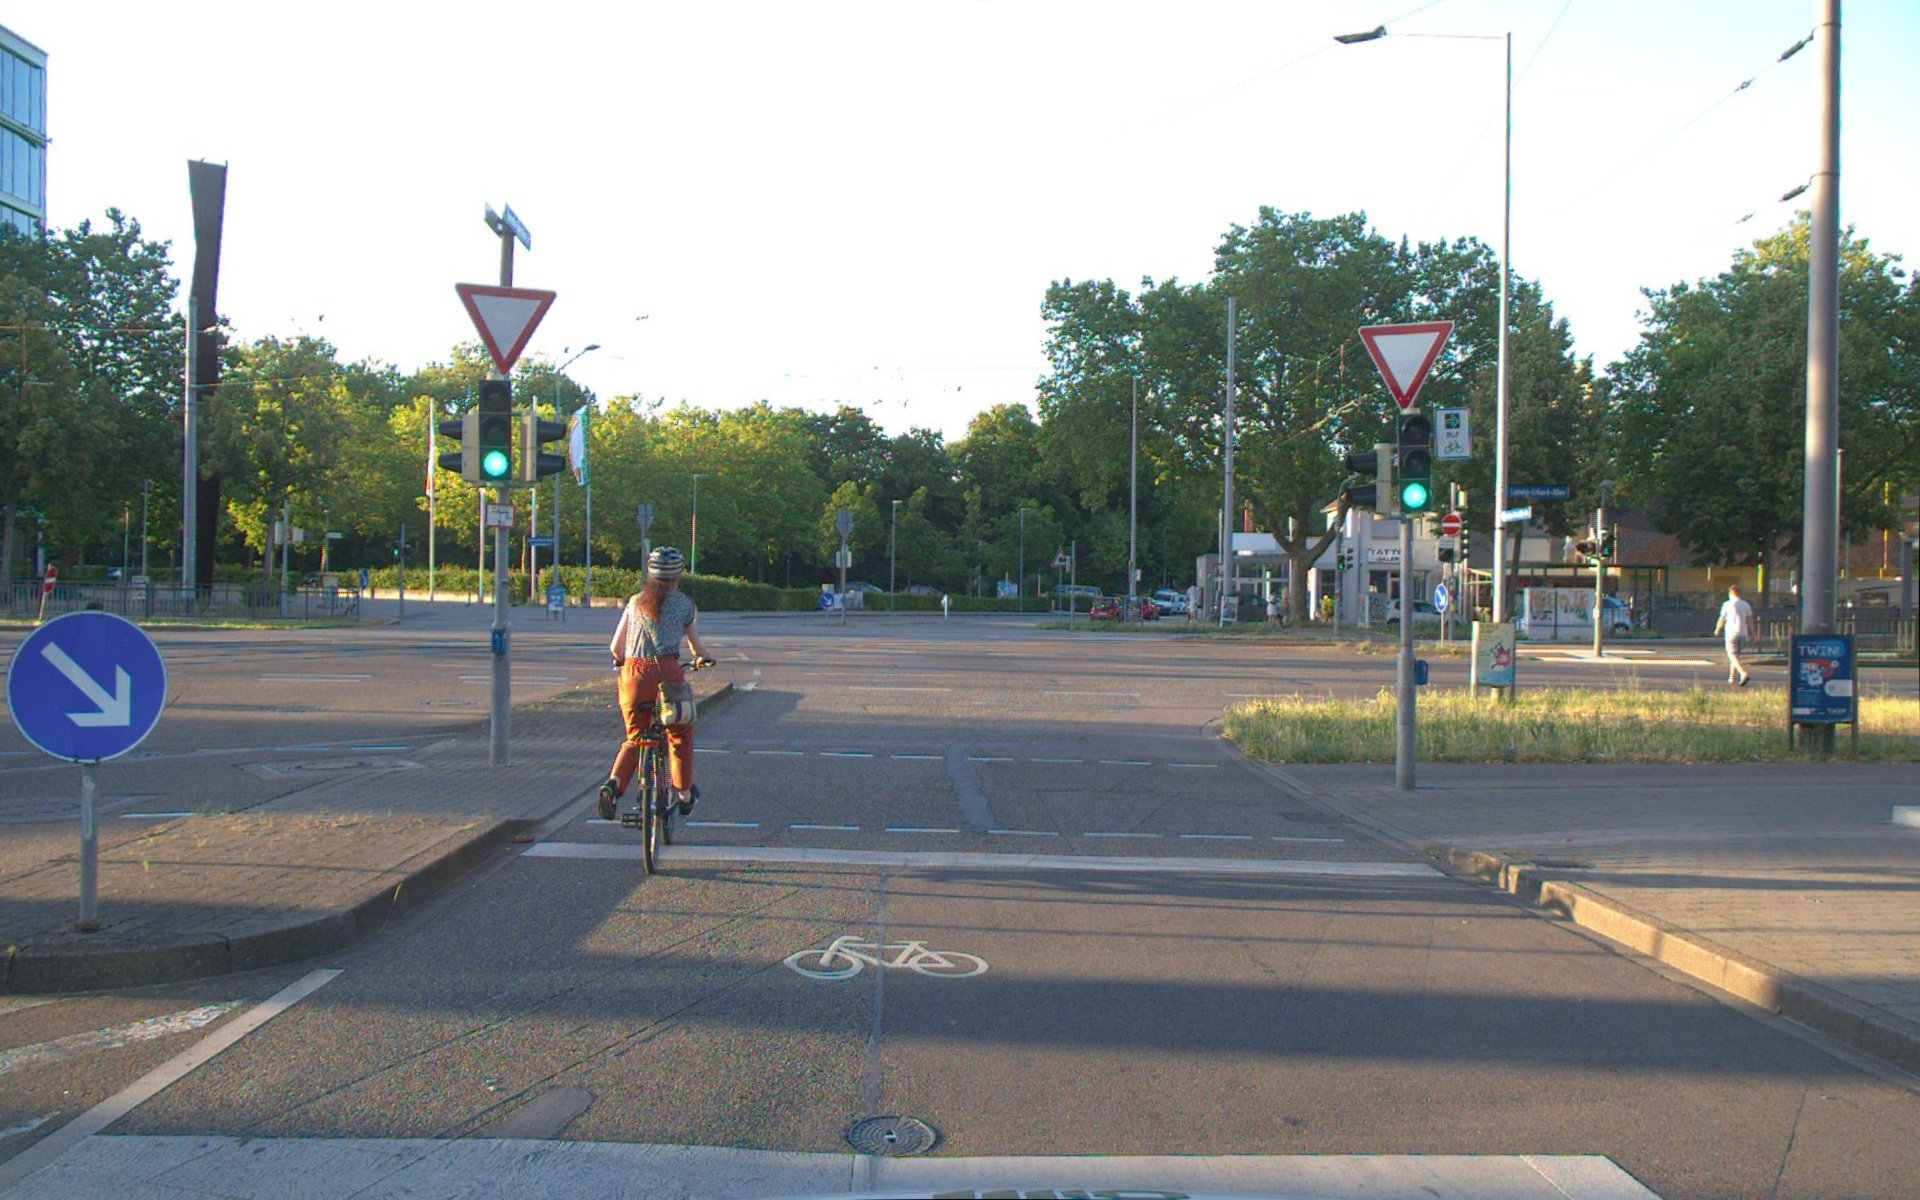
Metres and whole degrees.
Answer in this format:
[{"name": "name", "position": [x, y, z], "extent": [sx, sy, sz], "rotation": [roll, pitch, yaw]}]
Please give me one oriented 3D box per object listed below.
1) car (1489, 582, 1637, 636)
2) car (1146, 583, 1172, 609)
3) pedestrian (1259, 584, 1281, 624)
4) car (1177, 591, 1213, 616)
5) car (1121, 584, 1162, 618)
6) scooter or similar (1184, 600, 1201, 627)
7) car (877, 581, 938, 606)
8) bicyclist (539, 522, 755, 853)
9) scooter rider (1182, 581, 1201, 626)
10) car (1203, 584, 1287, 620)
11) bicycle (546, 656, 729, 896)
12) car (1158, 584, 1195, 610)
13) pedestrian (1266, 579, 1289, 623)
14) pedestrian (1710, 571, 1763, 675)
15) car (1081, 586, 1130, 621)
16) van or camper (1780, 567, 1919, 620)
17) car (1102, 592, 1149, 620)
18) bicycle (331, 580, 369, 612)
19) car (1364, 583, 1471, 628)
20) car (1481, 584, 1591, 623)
[{"name": "car", "position": [20.803, 0.301, 57.122], "extent": [4.445, 1.758, 1.860], "rotation": [1, 0, -5]}, {"name": "car", "position": [15.806, -0.326, 131.327], "extent": [1.951, 2.049, 4.003], "rotation": [1, 1, 6]}, {"name": "pedestrian", "position": [12.945, 0.168, 69.105], "extent": [0.704, 1.667, 0.897], "rotation": [1, 0, 23]}, {"name": "car", "position": [16.440, 0.236, 115.649], "extent": [1.875, 1.630, 4.002], "rotation": [1, 1, 17]}, {"name": "car", "position": [11.366, 0.058, 103.393], "extent": [1.875, 2.083, 4.002], "rotation": [1, 1, 17]}, {"name": "scooter or similar", "position": [9.821, 0.571, 69.851], "extent": [0.499, 1.109, 1.243], "rotation": [1, 0, -1]}, {"name": "car", "position": [-3.440, -0.434, 109.379], "extent": [3.905, 1.588, 2.000], "rotation": [1, 0, 1]}, {"name": "bicyclist", "position": [-1.725, 0.461, 9.275], "extent": [1.011, 1.748, 0.996], "rotation": [1, 0, -1]}, {"name": "scooter rider", "position": [9.779, 0.152, 69.891], "extent": [0.688, 1.887, 0.669], "rotation": [1, -1, -1]}, {"name": "car", "position": [15.309, 0.112, 89.102], "extent": [4.285, 1.867, 1.950], "rotation": [1, 0, 4]}, {"name": "bicycle", "position": [-1.738, 0.905, 9.224], "extent": [0.621, 1.086, 2.122], "rotation": [1, 0, -1]}, {"name": "car", "position": [17.833, -0.268, 135.845], "extent": [1.953, 2.049, 3.998], "rotation": [1, 1, 24]}, {"name": "pedestrian", "position": [13.024, 0.054, 67.823], "extent": [0.704, 1.785, 0.897], "rotation": [1, 0, 23]}, {"name": "pedestrian", "position": [14.000, 0.401, 29.804], "extent": [0.747, 1.822, 0.800], "rotation": [2, 0, 31]}, {"name": "car", "position": [8.440, 0.183, 95.733], "extent": [1.829, 1.907, 3.875], "rotation": [1, 1, 20]}, {"name": "van or camper", "position": [43.634, -0.318, 80.314], "extent": [6.426, 2.452, 2.265], "rotation": [1, 0, 3]}, {"name": "car", "position": [9.983, 0.317, 99.554], "extent": [1.952, 1.601, 4.002], "rotation": [1, 1, 19]}, {"name": "bicycle", "position": [-23.140, -0.163, 62.796], "extent": [0.685, 1.156, 2.391], "rotation": [1, 1, -3]}, {"name": "car", "position": [20.081, 0.234, 72.685], "extent": [4.142, 1.878, 2.001], "rotation": [1, 0, 2]}, {"name": "car", "position": [25.174, 0.145, 72.353], "extent": [4.142, 1.605, 2.001], "rotation": [1, 0, 2]}]
